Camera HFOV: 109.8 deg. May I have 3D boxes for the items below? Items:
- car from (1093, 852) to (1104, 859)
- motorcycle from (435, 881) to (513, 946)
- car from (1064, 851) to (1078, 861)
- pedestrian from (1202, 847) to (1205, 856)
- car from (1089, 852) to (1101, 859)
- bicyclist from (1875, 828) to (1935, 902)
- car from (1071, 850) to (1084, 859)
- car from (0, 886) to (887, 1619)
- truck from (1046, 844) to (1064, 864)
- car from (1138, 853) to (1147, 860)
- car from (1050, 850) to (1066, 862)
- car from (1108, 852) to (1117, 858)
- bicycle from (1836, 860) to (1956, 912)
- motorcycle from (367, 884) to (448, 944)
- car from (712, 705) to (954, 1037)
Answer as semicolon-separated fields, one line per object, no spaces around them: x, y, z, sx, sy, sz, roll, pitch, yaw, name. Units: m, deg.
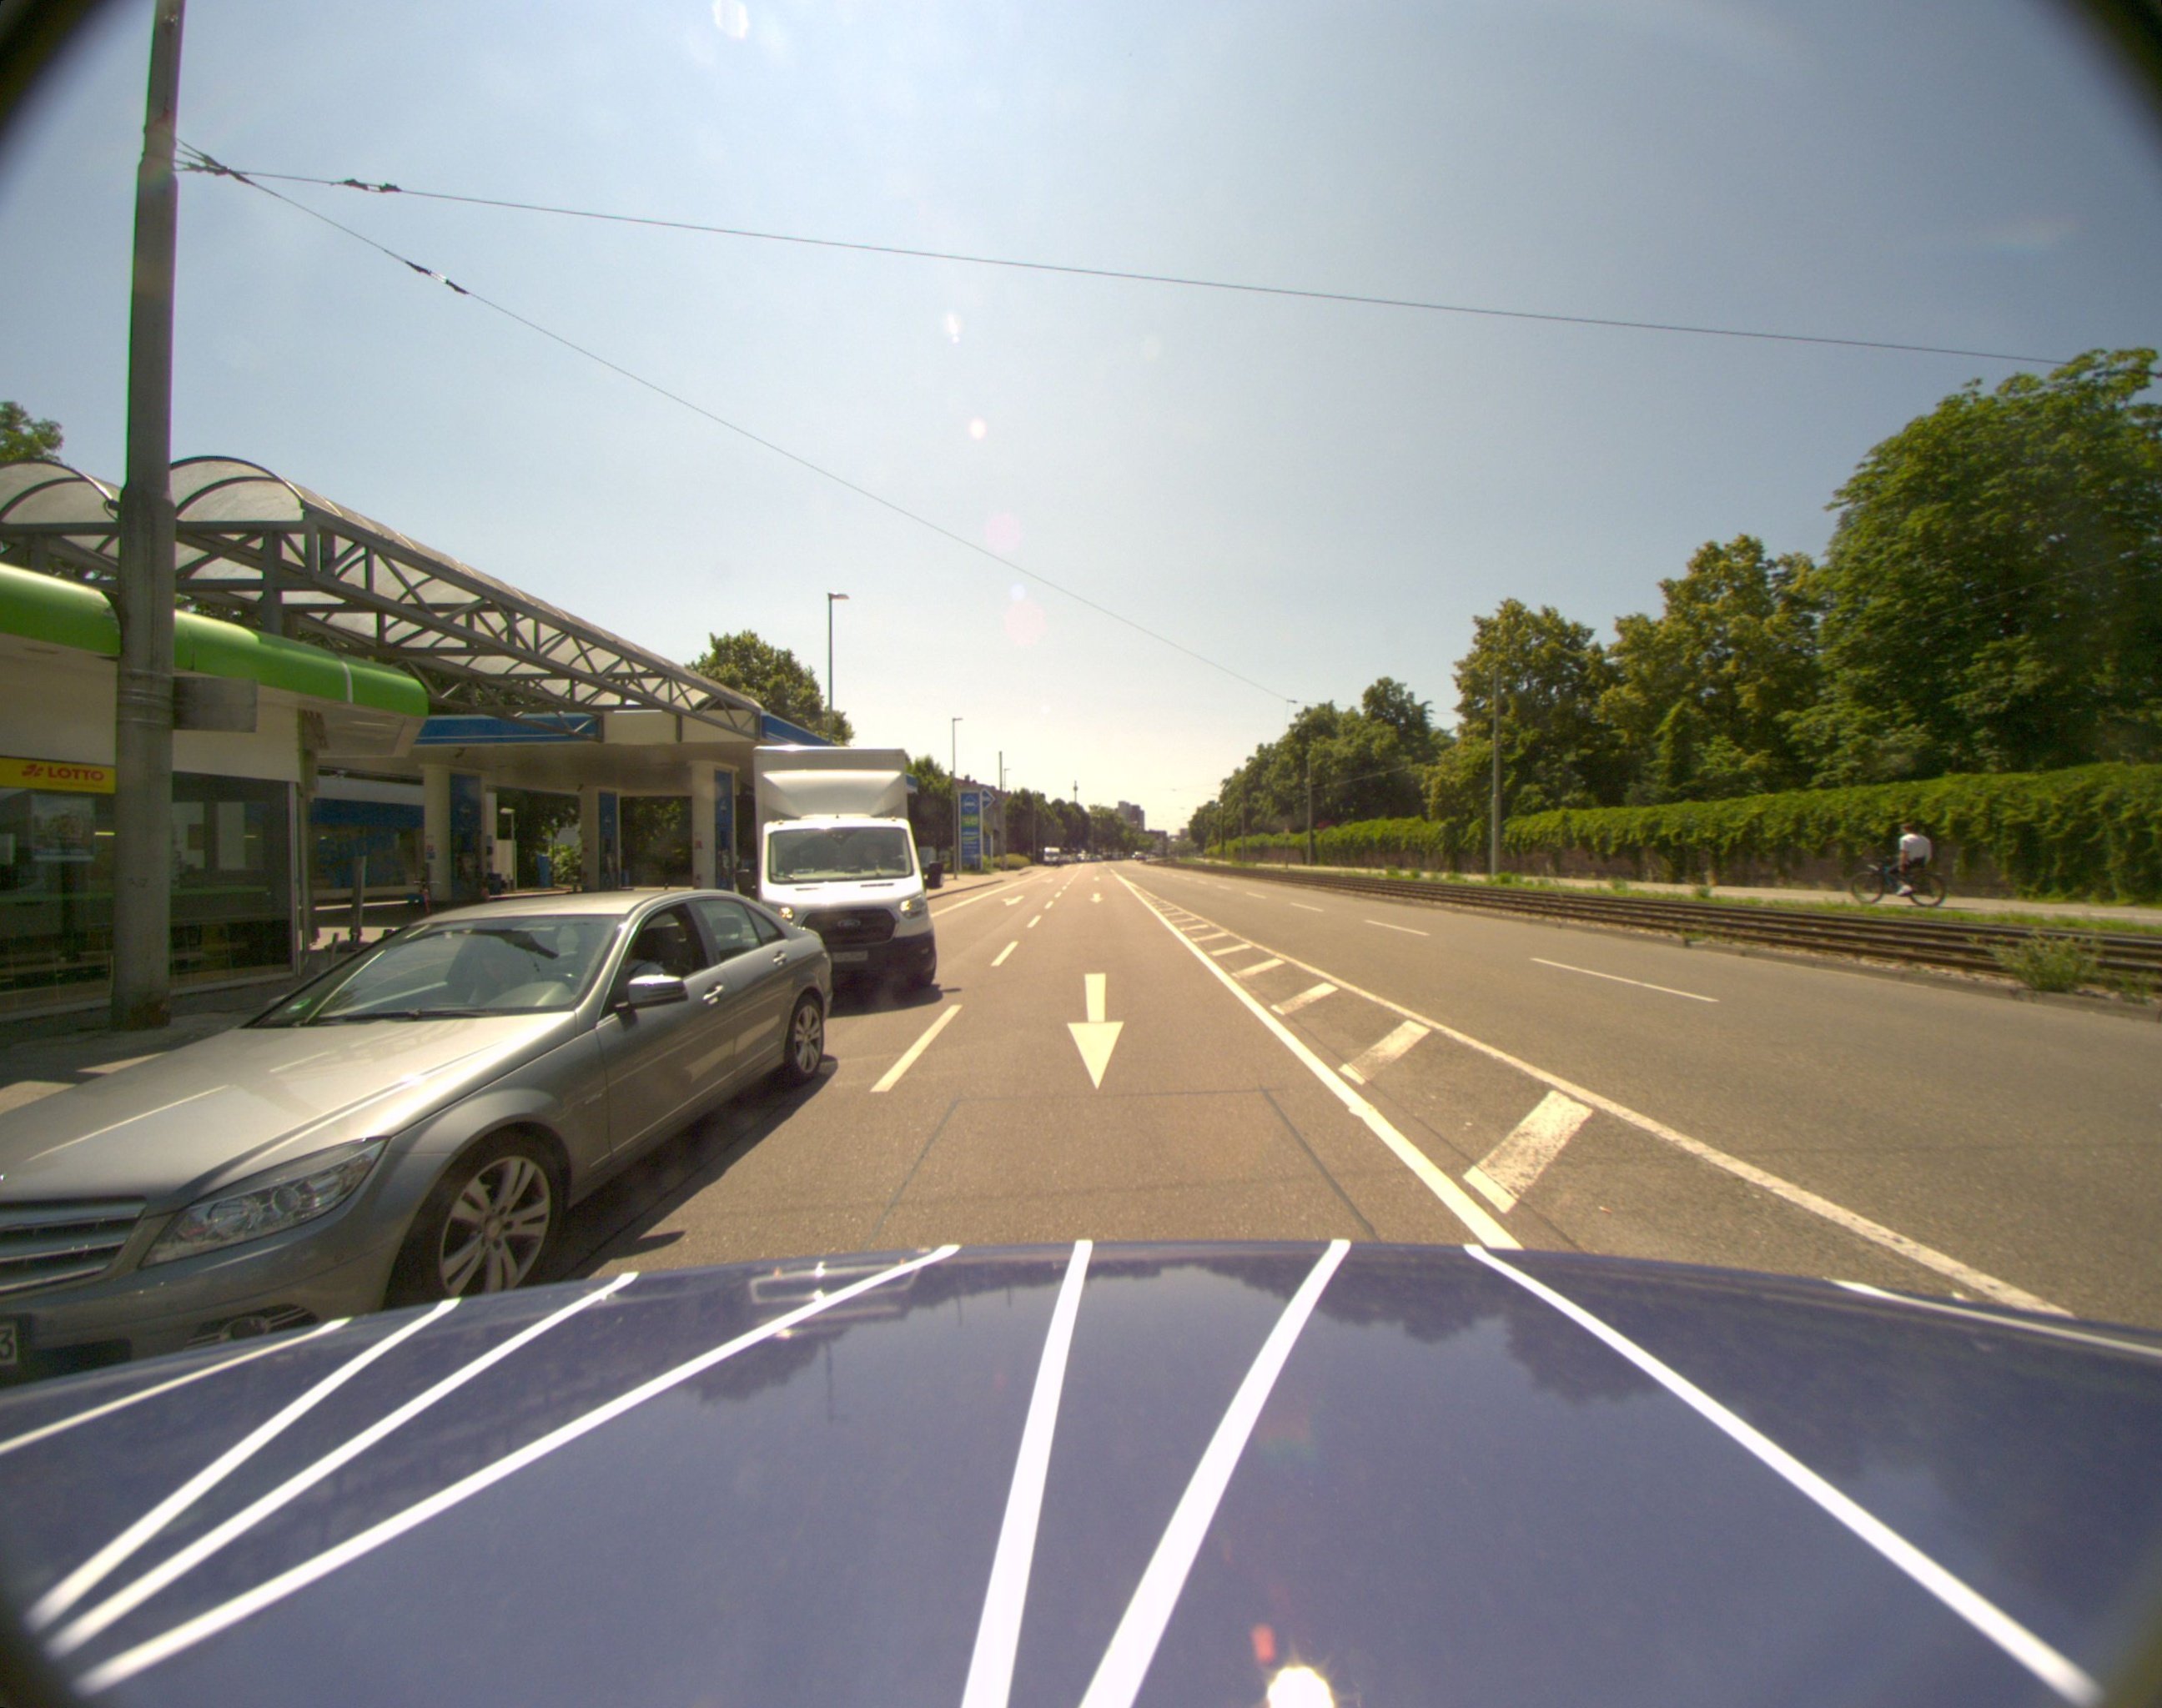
4.067;0.290;177.014;1.911;1.488;4.002;-2;1;10;car
-11.568;1.128;14.500;1.157;1.203;0.364;1;-1;-1;motorcycle
-1.648;0.276;126.595;1.912;1.488;4.001;-2;1;4;car
22.719;-0.468;140.396;0.453;1.655;0.302;-2;0;1;pedestrian
3.218;0.377;172.173;1.911;1.488;4.002;-2;1;10;car
18.340;0.230;16.920;0.483;1.603;0.769;-2;1;1;bicyclist
-0.620;0.084;139.167;1.912;1.488;4.001;-2;1;4;car
-2.787;1.055;4.407;1.717;1.464;5.302;-3;0;2;car
-3.434;-0.026;101.521;1.998;2.462;5.237;-2;1;1;truck
14.171;0.570;175.263;1.801;1.488;3.966;-2;0;9;car
-3.268;0.279;109.681;1.912;1.488;4.001;-2;1;4;car
8.384;0.324;203.237;1.911;1.488;4.002;-2;1;10;car
18.384;0.692;17.213;0.617;1.049;1.978;-2;1;2;bicycle
-12.842;1.141;14.496;1.157;1.107;0.396;1;-1;-1;motorcycle
-3.909;0.148;12.008;2.232;3.316;8.622;-3;1;-19;car
